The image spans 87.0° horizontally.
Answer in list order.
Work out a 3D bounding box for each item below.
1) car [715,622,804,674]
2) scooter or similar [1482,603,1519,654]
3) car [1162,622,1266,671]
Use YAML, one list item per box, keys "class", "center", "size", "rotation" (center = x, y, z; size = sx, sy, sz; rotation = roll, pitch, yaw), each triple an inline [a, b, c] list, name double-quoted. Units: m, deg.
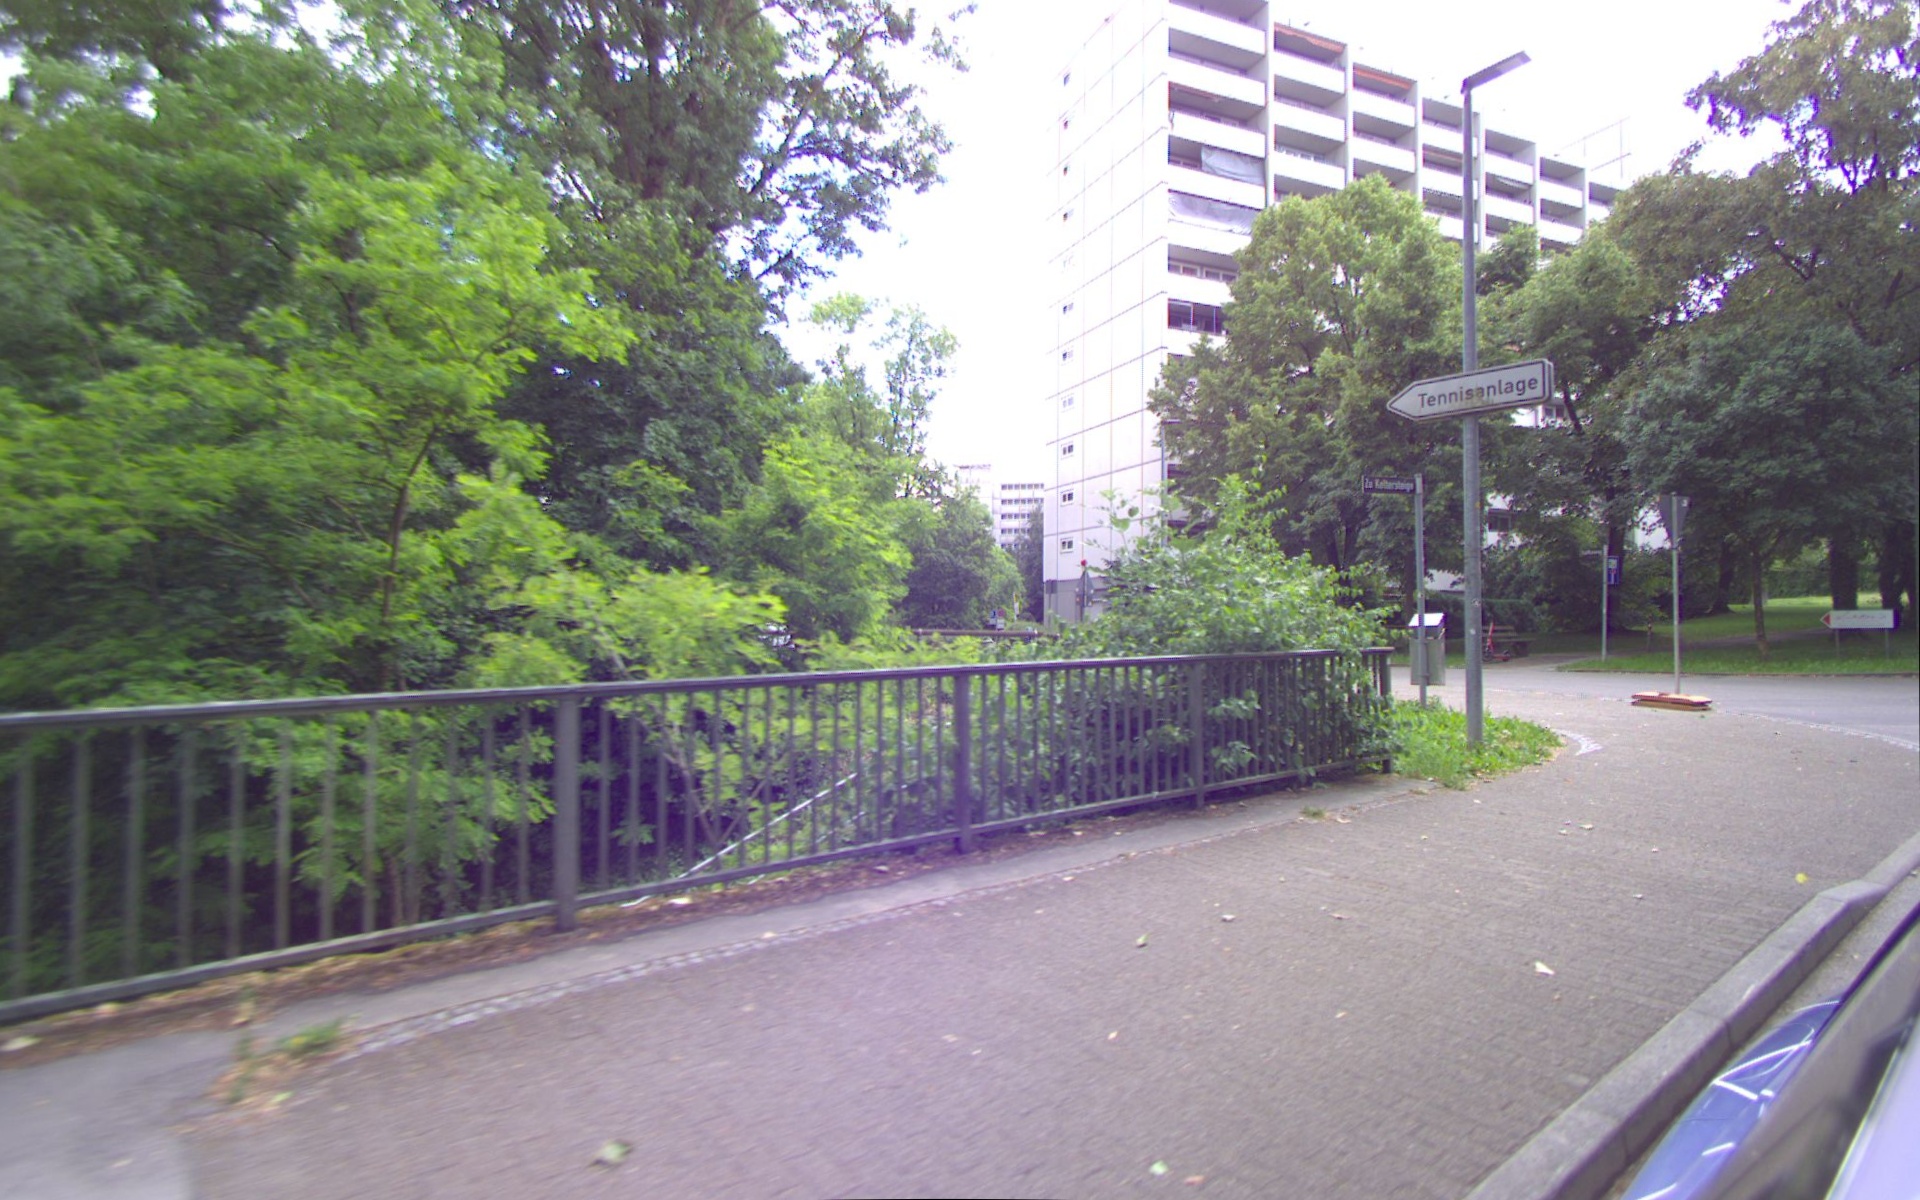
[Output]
- class: "car"
  center: [-6.753, 1.537, 33.763]
  size: [1.763, 1.518, 4.225]
  rotation: [-1, 0, -27]
- class: "scooter or similar"
  center: [14.187, 0.732, 26.563]
  size: [1.086, 1.303, 0.284]
  rotation: [-1, -1, -31]
- class: "car"
  center: [8.738, 1.569, 35.137]
  size: [1.794, 1.590, 3.534]
  rotation: [-1, -1, -20]
